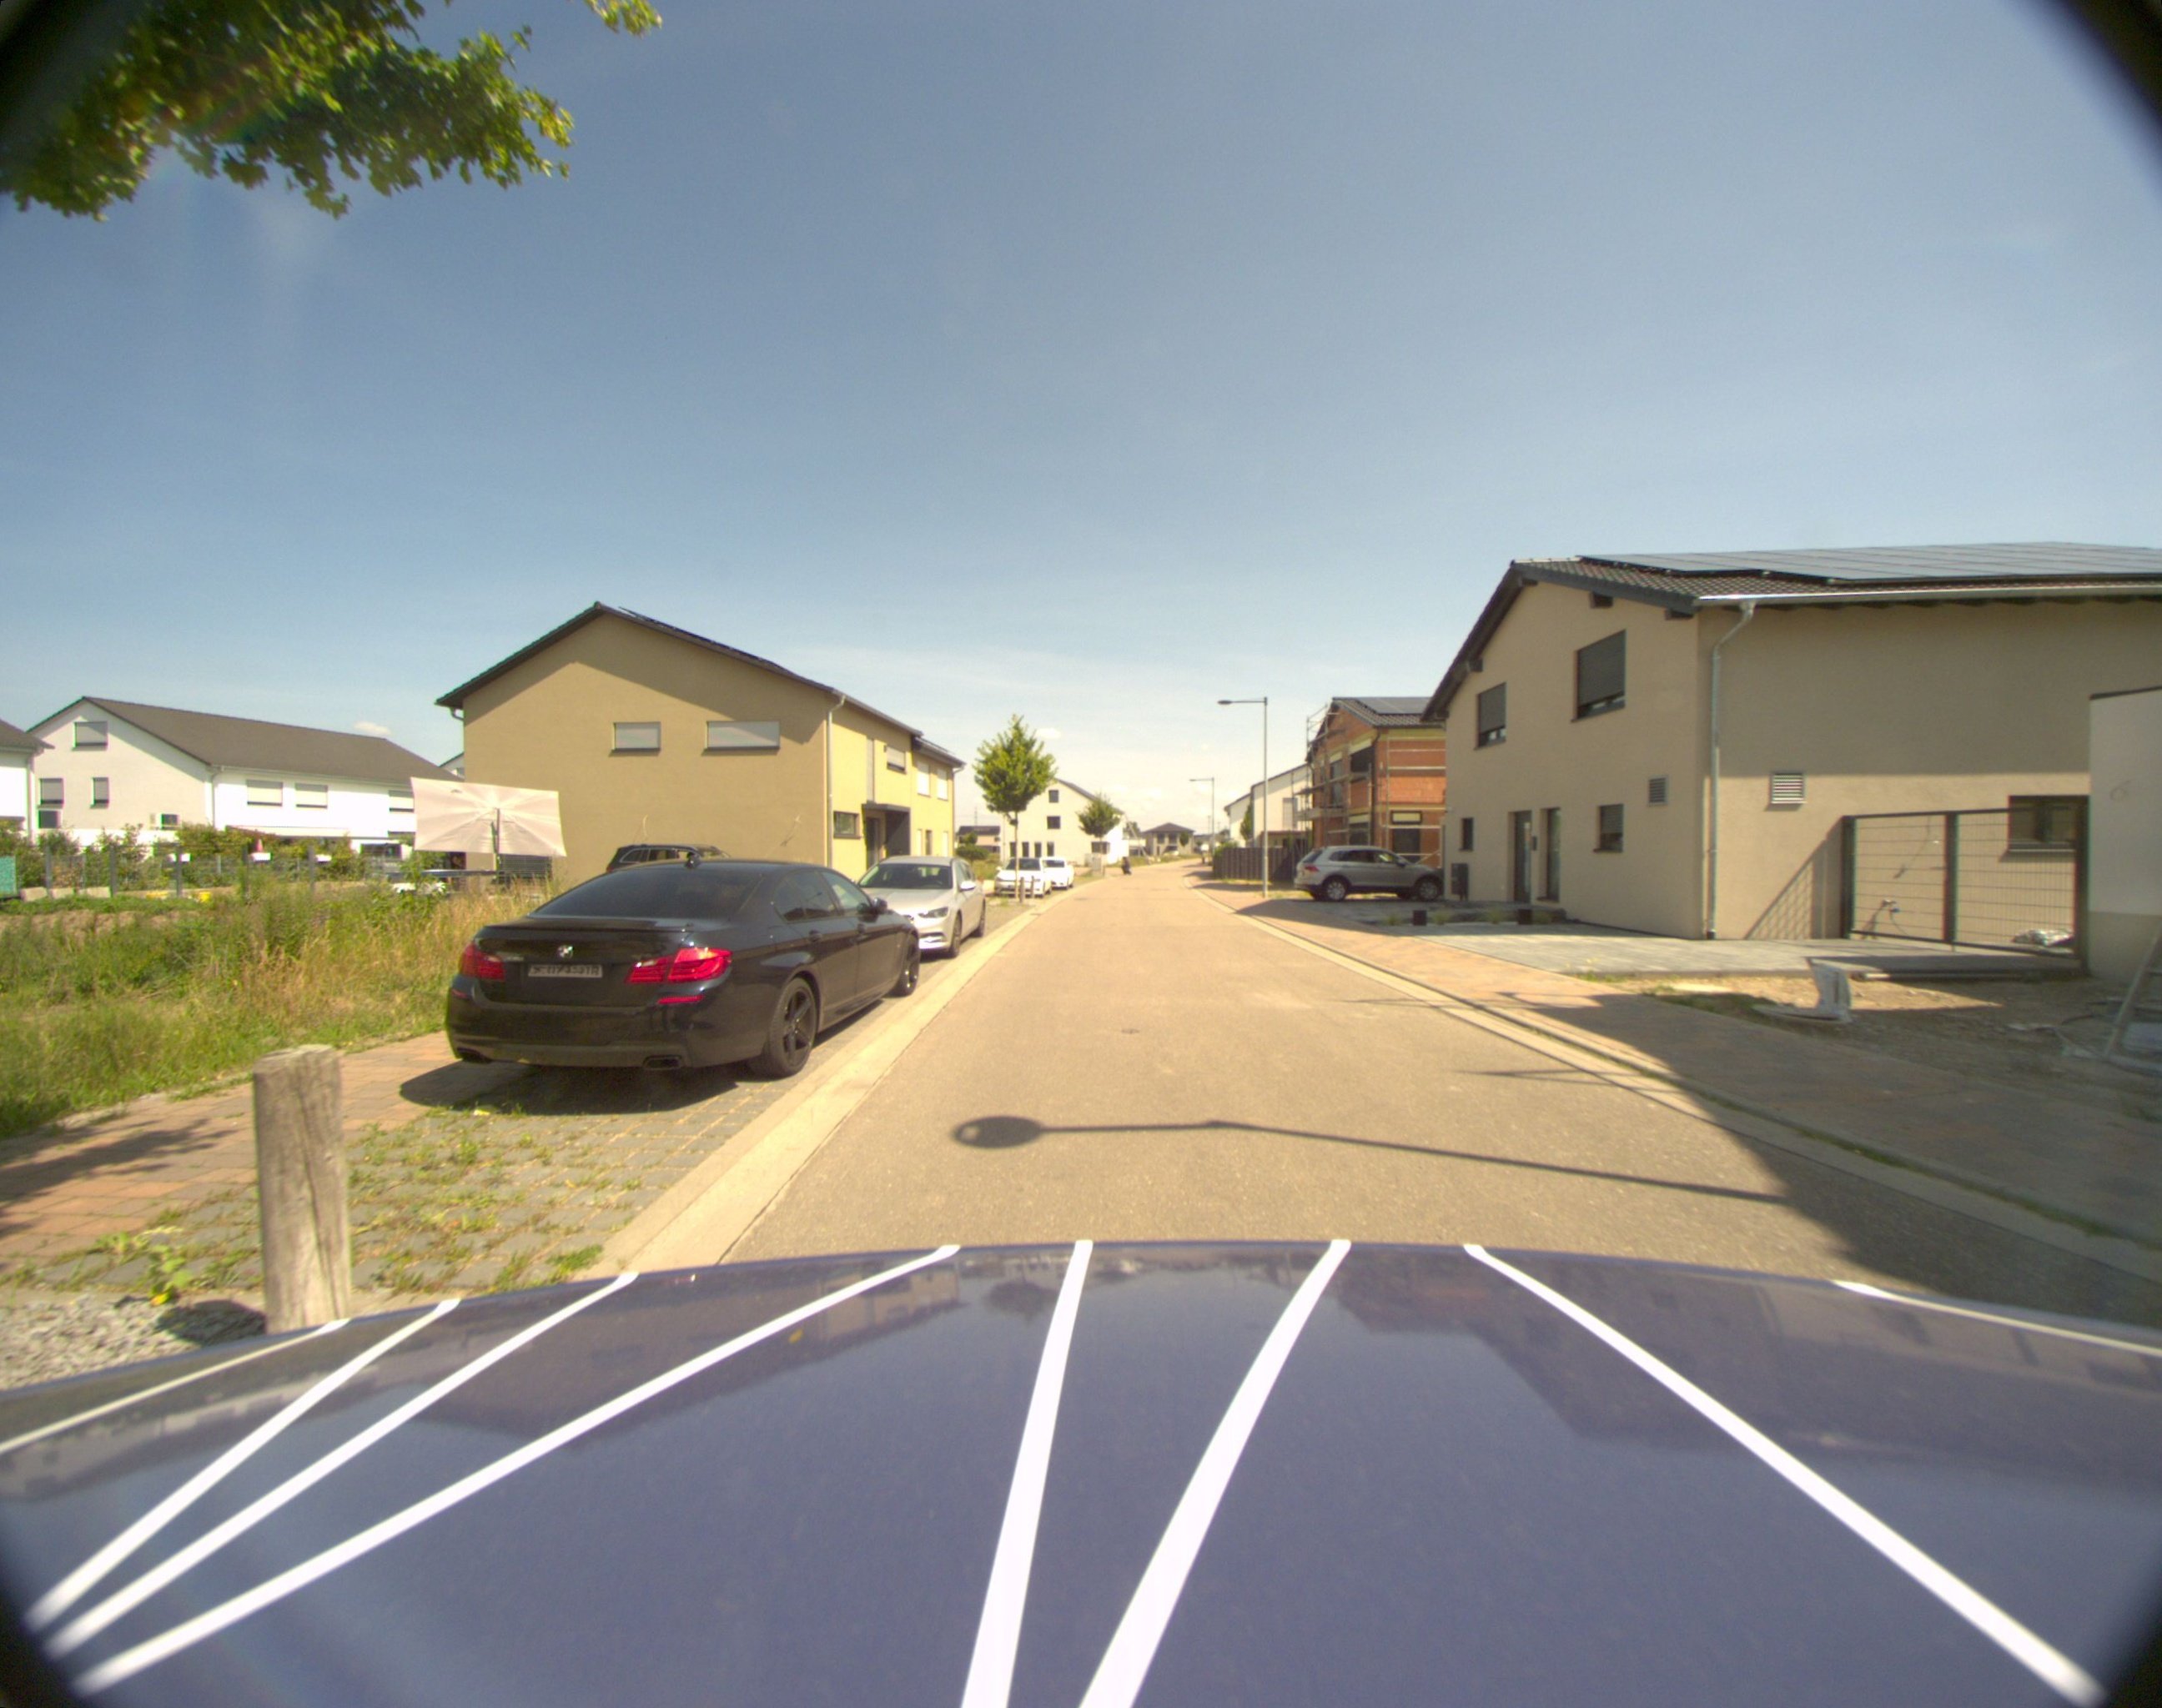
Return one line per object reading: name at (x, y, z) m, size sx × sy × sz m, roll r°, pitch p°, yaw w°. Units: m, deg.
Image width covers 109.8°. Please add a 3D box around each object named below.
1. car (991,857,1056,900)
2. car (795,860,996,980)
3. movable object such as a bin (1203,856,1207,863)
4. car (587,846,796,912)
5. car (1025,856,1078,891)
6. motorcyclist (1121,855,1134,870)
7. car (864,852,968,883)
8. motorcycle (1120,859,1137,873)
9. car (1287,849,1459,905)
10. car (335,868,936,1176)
car at (-2.064, 0.856, 28.549) m, size 1.783 × 1.417 × 4.515 m, roll 1°, pitch 0°, yaw 4°
car at (-2.717, 0.884, 12.564) m, size 1.923 × 1.502 × 5.295 m, roll 1°, pitch 0°, yaw 1°
movable object such as a bin at (16.177, 0.689, 99.121) m, size 0.597 × 0.916 × 0.462 m, roll 0°, pitch 1°, yaw 14°
car at (-10.621, 0.648, 20.973) m, size 4.757 × 1.635 × 2.000 m, roll 1°, pitch 2°, yaw 2°
car at (-1.260, 0.845, 34.834) m, size 1.818 × 1.447 × 4.566 m, roll 1°, pitch 0°, yaw 5°
motorcyclist at (3.822, 0.718, 62.119) m, size 0.927 × 1.215 × 0.803 m, roll -1°, pitch 0°, yaw -8°
car at (-8.627, 0.674, 39.995) m, size 4.897 × 1.417 × 2.001 m, roll 2°, pitch 1°, yaw 7°
motorcycle at (3.832, 0.969, 61.988) m, size 0.959 × 1.029 × 2.436 m, roll -1°, pitch -2°, yaw -7°
car at (8.685, 0.666, 22.925) m, size 4.435 × 1.602 × 2.000 m, roll 0°, pitch 0°, yaw 1°
car at (-2.809, 0.913, 6.495) m, size 1.923 × 1.461 × 5.141 m, roll 1°, pitch 0°, yaw 2°
